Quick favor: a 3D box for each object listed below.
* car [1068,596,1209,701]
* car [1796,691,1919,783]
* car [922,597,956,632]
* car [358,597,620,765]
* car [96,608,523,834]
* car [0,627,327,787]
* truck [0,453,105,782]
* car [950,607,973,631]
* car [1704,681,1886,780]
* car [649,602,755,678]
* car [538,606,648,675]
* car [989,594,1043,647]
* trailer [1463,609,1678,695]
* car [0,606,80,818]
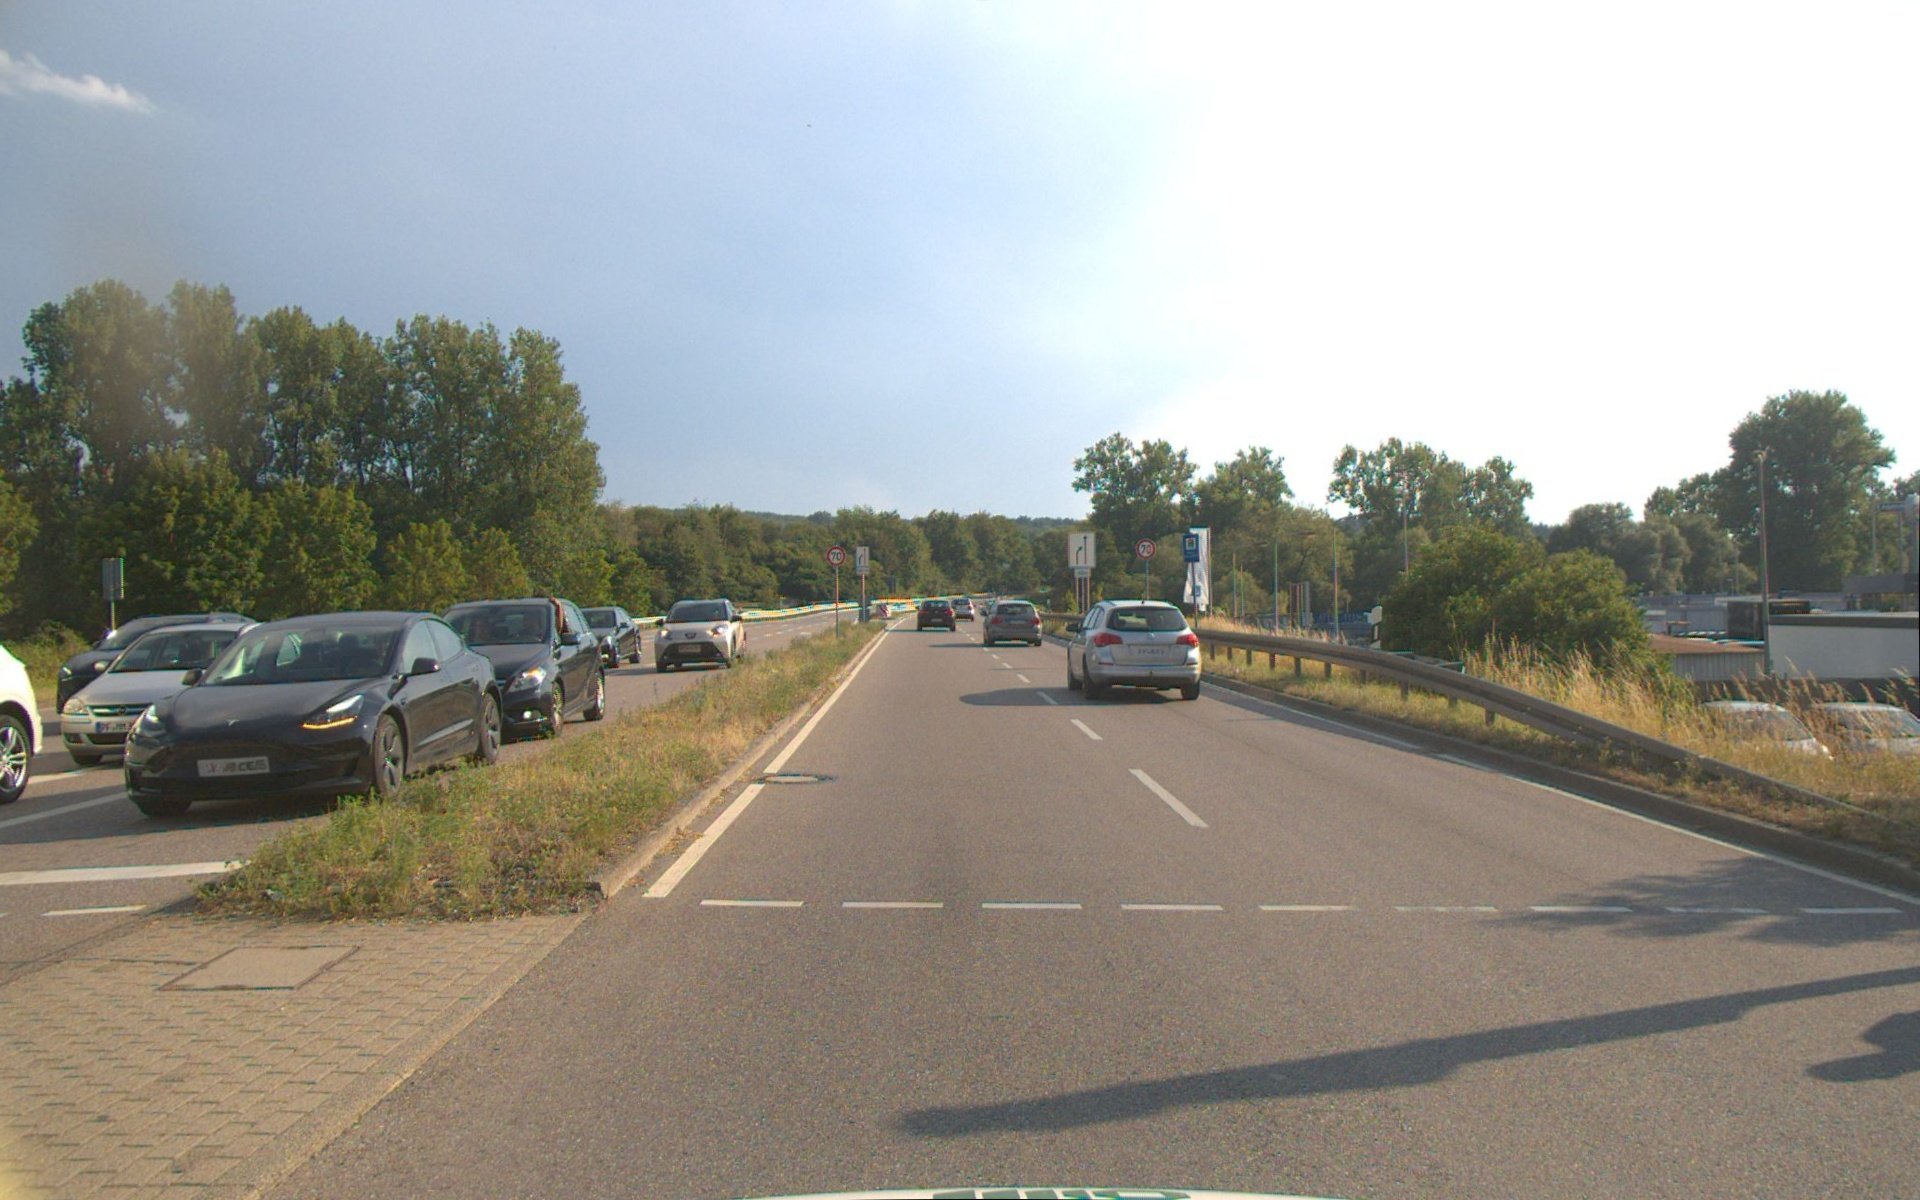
[{"bbox_3d":[2.748,0.746,26.248,1.772,1.512,3.999,1,-1,0],"label":"car"},{"bbox_3d":[16.442,2.380,29.345,1.497,1.395,3.585,1,-1,1],"label":"car"},{"bbox_3d":[-0.923,0.665,74.803,1.462,1.502,3.358,1,-1,0],"label":"car"},{"bbox_3d":[-5.270,0.821,19.144,1.744,1.564,4.570,-2,1,-1],"label":"car"},{"bbox_3d":[-5.073,0.859,13.722,1.754,1.492,4.926,-1,-1,-2],"label":"car"},{"bbox_3d":[-8.567,1.035,17.757,1.667,1.430,5.079,-2,-1,-1],"label":"car"},{"bbox_3d":[-12.403,0.211,15.783,2.873,3.754,10.498,-3,-1,0],"label":"truck"},{"bbox_3d":[0.111,1.257,107.561,1.462,1.502,3.358,1,-1,0],"label":"car"},{"bbox_3d":[14.729,2.267,29.369,1.497,1.510,3.585,1,-1,1],"label":"car"},{"bbox_3d":[-5.730,0.883,37.129,1.744,1.546,3.999,-2,-1,-1],"label":"car"},{"bbox_3d":[-8.954,0.956,40.746,1.680,1.489,4.725,-3,0,-1],"label":"car"},{"bbox_3d":[1.776,0.675,53.308,1.633,1.601,4.000,1,-1,0],"label":"car"},{"bbox_3d":[24.997,2.116,68.058,7.714,3.381,3.360,1,-1,4],"label":"trailer"},{"bbox_3d":[-8.713,0.917,12.182,1.953,1.708,4.805,-2,-1,-1],"label":"car"}]
